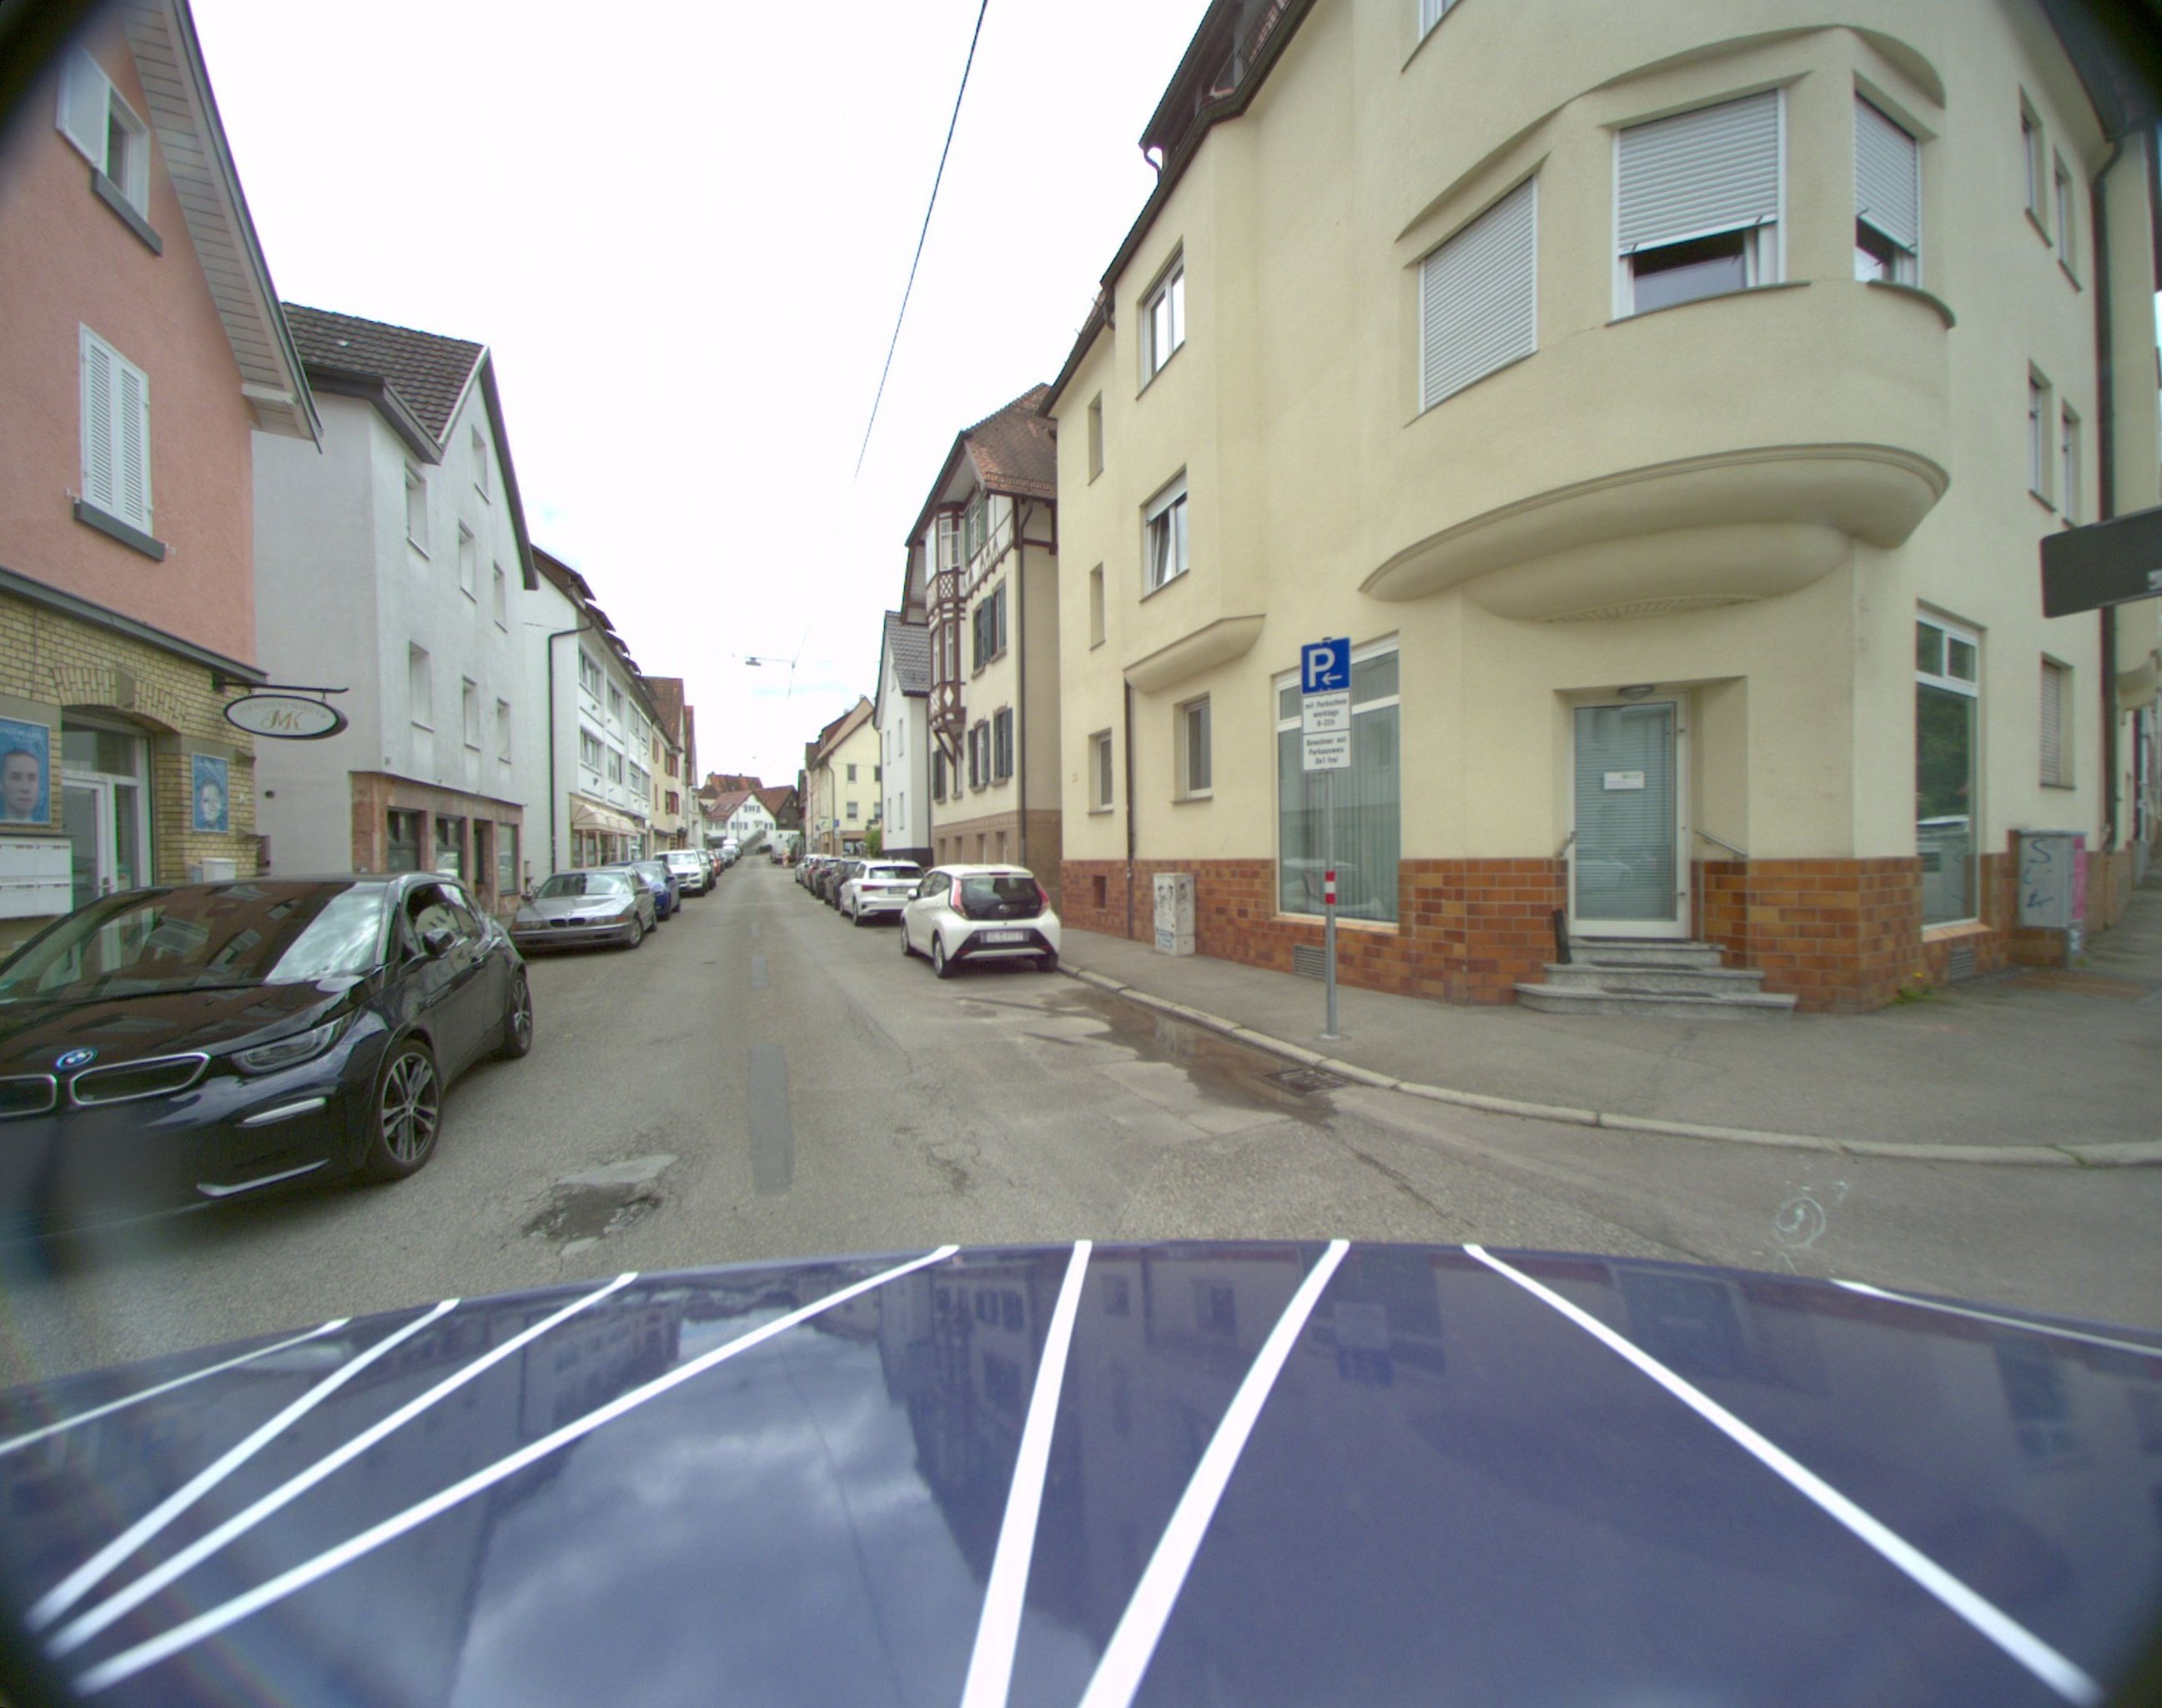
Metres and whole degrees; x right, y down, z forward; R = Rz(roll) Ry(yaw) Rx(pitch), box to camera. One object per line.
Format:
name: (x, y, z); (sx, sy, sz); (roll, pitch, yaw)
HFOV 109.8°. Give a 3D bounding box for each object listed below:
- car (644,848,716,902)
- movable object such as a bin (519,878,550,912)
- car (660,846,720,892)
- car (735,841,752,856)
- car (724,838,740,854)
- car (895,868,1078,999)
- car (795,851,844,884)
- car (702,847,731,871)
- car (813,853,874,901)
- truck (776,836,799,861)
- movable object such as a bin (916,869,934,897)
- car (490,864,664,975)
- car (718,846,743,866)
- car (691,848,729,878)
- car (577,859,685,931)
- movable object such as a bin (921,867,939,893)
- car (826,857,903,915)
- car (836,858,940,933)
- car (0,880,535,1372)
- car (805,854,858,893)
car: (-14.734, 0.684, 28.141); (1.904, 1.696, 4.484); (-2, 2, -23)
movable object such as a bin: (-15.217, 1.132, 21.154); (0.571, 0.924, 0.520); (1, 0, -22)
car: (-16.888, 0.575, 33.029); (1.904, 1.780, 4.334); (-2, 2, -23)
car: (-37.998, -0.611, 85.605); (1.609, 1.464, 3.543); (-5, 3, -23)
car: (-43.222, -1.015, 94.111); (1.609, 1.717, 3.543); (-5, 3, -23)
car: (-1.542, 0.976, 11.011); (1.674, 1.425, 3.808); (0, 1, -23)
car: (-12.833, 0.644, 37.155); (1.760, 1.423, 4.339); (1, 1, -26)
car: (-26.865, 0.347, 56.120); (1.609, 1.520, 3.980); (-5, 3, -23)
car: (-8.586, 0.778, 27.312); (1.759, 1.501, 4.076); (1, 1, -22)
truck: (-28.870, -0.591, 74.634); (1.787, 2.378, 5.473); (-2, 2, -24)
movable object such as a bin: (-5.894, 1.088, 28.741); (0.516, 1.009, 0.602); (-2, 2, -22)
car: (-8.989, 1.022, 13.981); (1.794, 1.409, 4.568); (-4, 3, -24)
car: (-28.739, 0.133, 62.293); (1.609, 1.464, 3.980); (-5, 3, -23)
car: (-22.474, 0.511, 46.102); (1.676, 1.520, 3.980); (-4, 3, -22)
car: (-11.184, 0.933, 19.142); (1.759, 1.424, 3.919); (-3, 3, -23)
movable object such as a bin: (-5.603, 0.958, 28.165); (0.516, 0.926, 0.602); (-2, 2, -22)
car: (-6.539, 0.876, 22.619); (1.759, 1.447, 4.361); (1, 1, -22)
car: (-4.711, 0.894, 18.108); (1.759, 1.424, 4.360); (1, 1, -23)
car: (-4.780, 1.050, 4.429); (1.826, 1.534, 4.018); (-3, 2, -26)
car: (-10.630, 0.779, 32.208); (1.759, 1.441, 4.058); (1, 1, -23)
